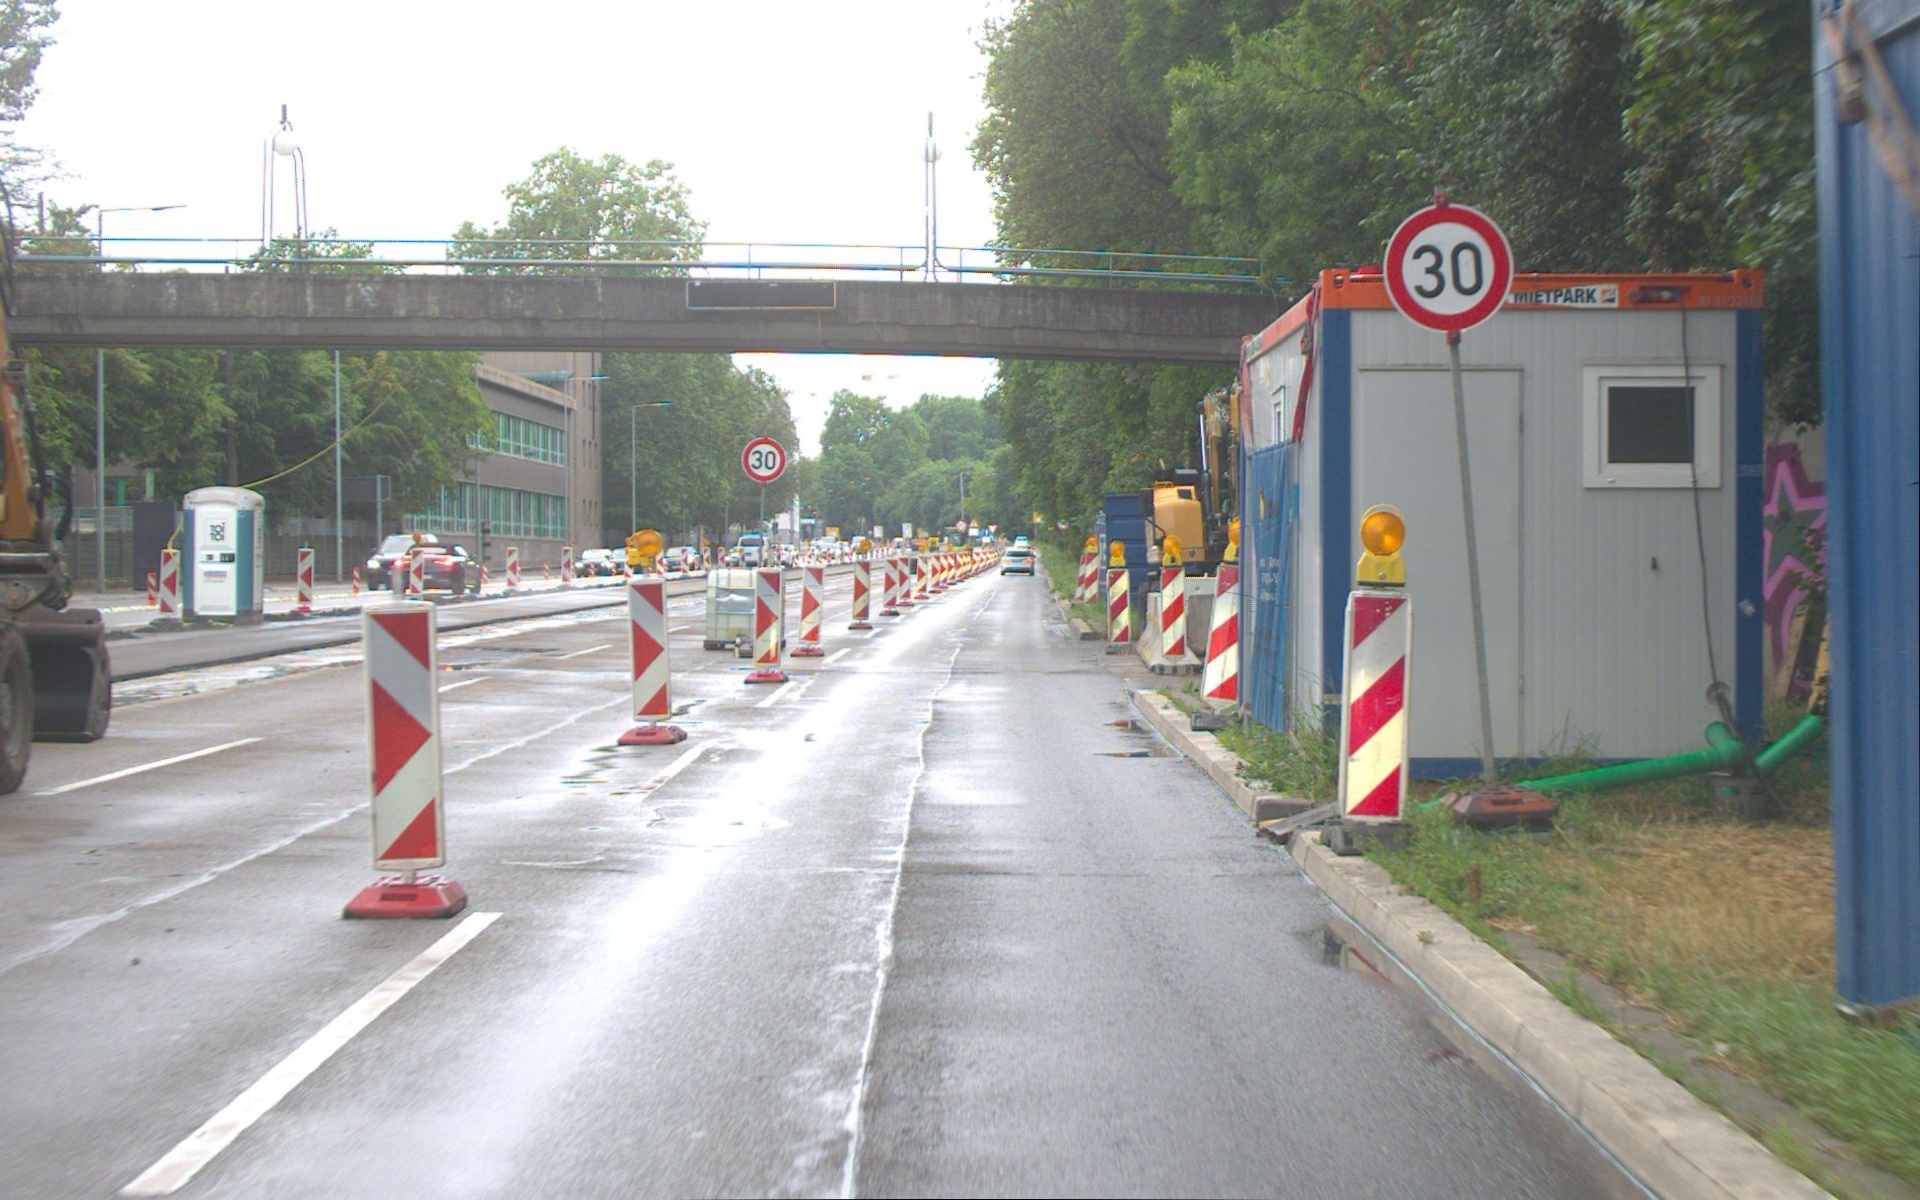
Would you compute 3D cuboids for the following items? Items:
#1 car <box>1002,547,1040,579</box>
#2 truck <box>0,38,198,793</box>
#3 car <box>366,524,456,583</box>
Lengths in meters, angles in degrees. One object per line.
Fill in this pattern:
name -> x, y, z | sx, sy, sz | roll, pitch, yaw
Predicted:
car -> 3.255, -1.989, 184.529 | 1.993, 1.634, 4.000 | -1, 1, 1
truck -> -6.997, -1.080, 21.198 | 2.897, 4.244, 10.758 | 1, 1, -4
car -> -17.285, -1.451, 108.439 | 1.971, 1.800, 4.607 | -1, 1, 2
